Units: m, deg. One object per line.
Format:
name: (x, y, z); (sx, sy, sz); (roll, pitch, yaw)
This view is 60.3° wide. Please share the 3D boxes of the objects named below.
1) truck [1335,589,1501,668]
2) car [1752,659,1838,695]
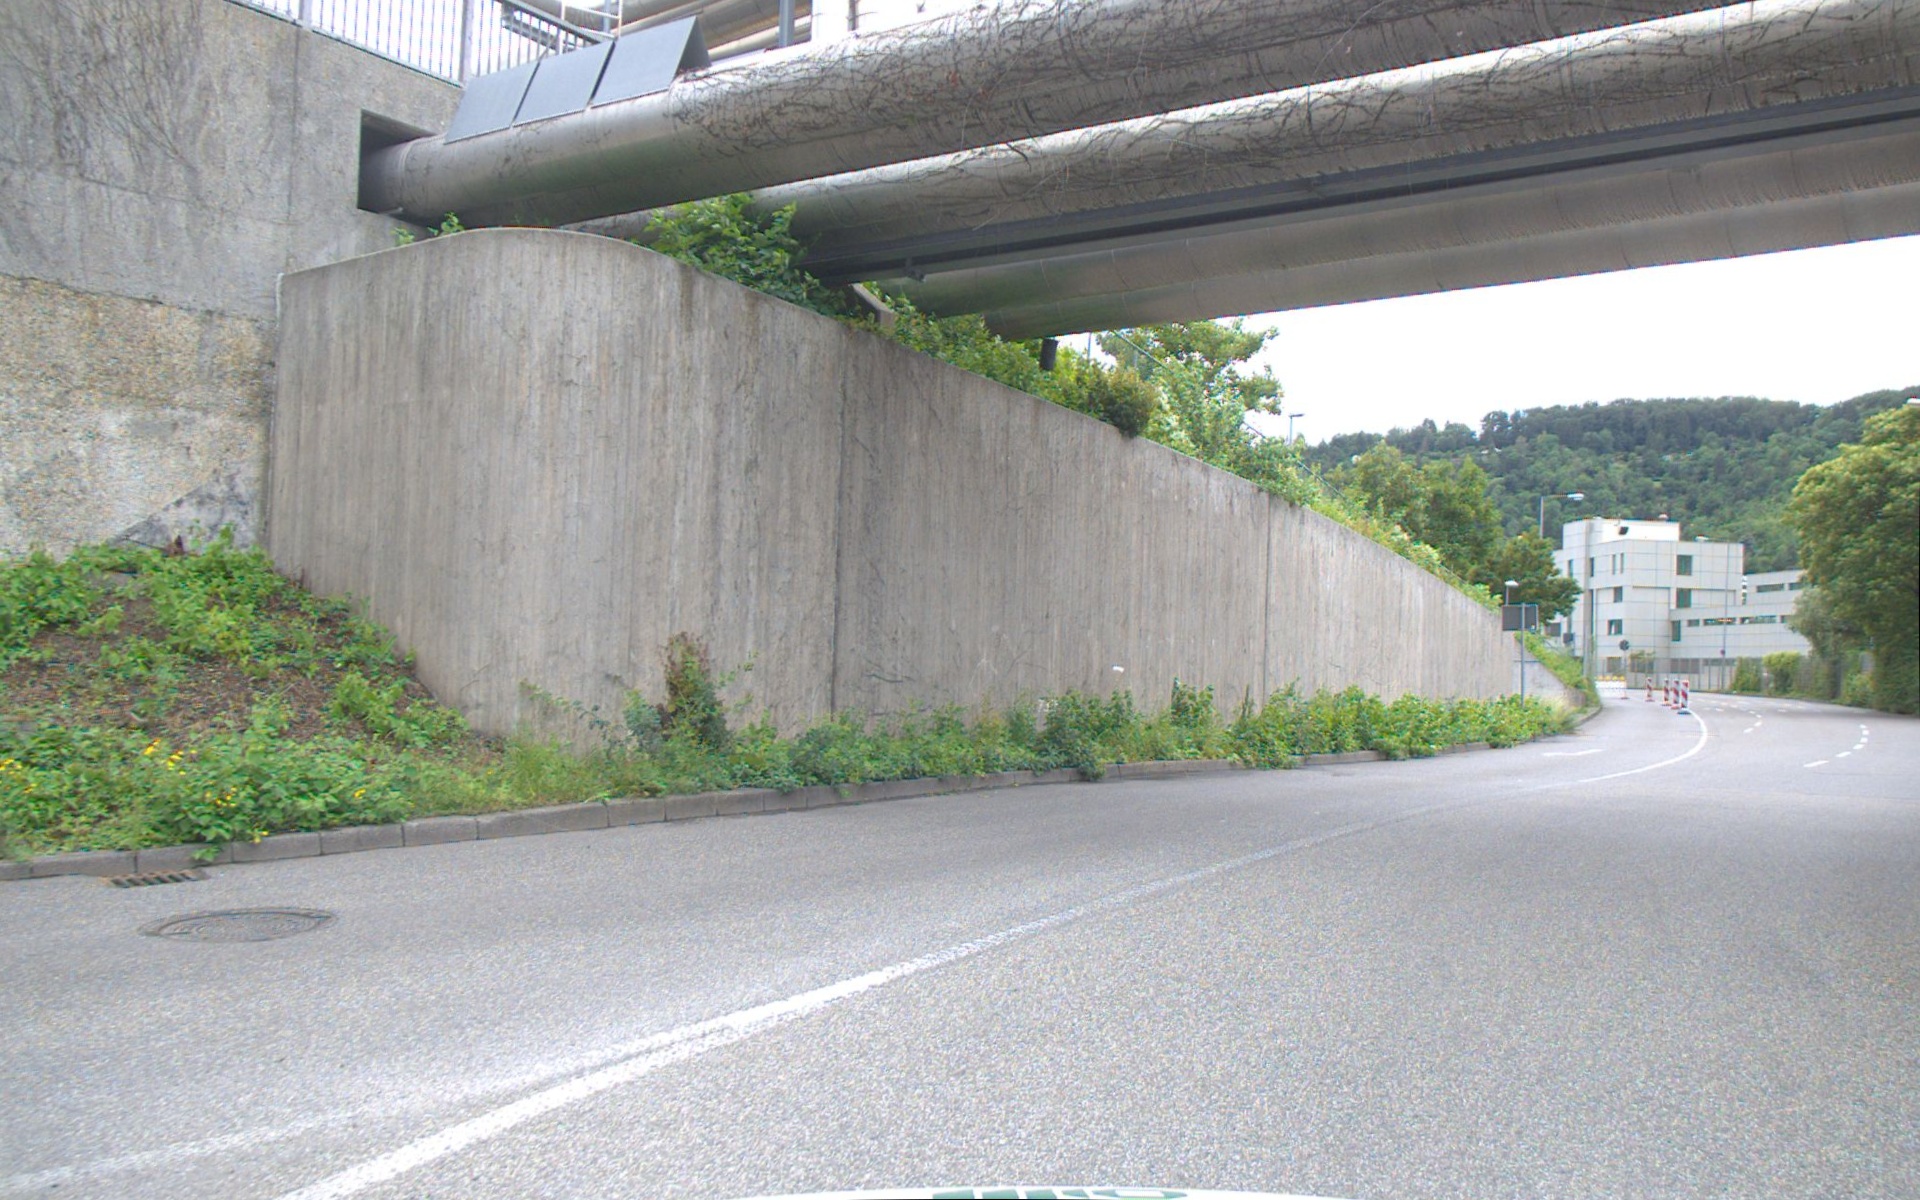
truck: (23.670, 1.519, 85.715); (7.685, 3.601, 3.050); (3, -4, -3)
car: (64.391, 5.910, 127.616); (1.965, 2.302, 6.132); (4, 0, -21)
